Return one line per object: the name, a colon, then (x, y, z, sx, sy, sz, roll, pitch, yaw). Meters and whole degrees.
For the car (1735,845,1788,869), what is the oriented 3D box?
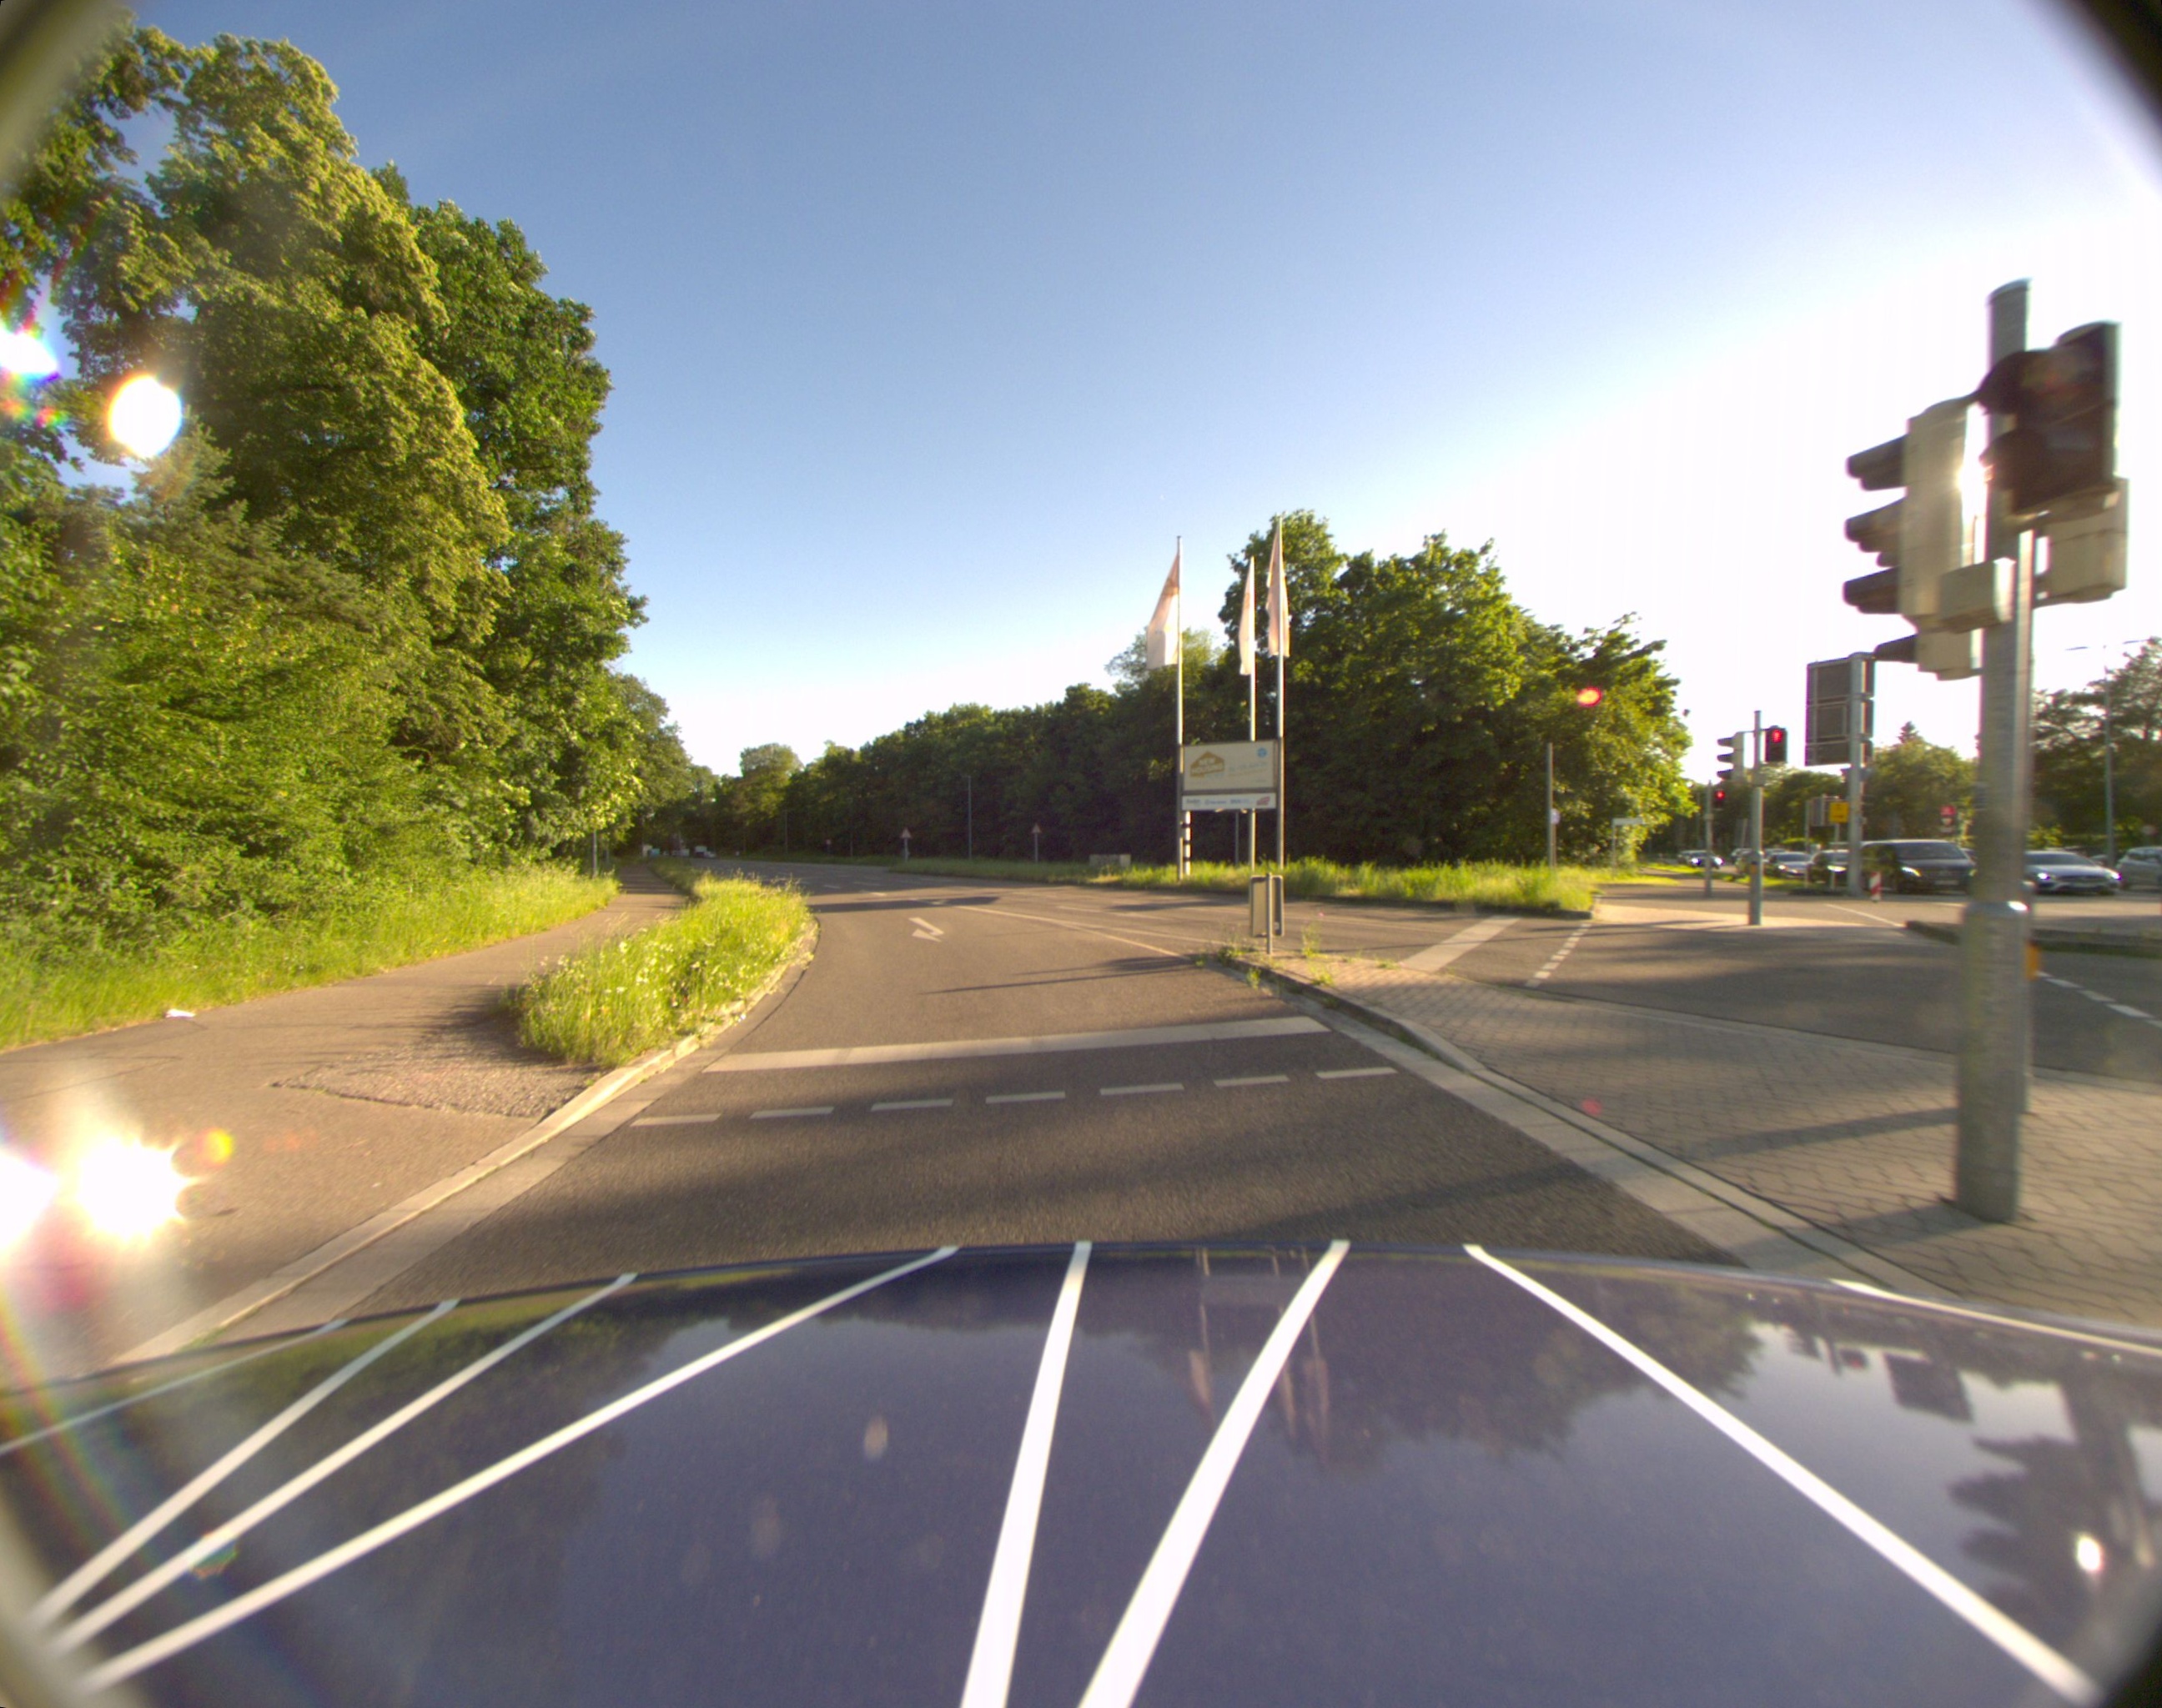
car: (42.022, 0.144, 47.004, 1.849, 1.381, 3.807, 0, 1, 33)

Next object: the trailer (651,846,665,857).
trailer: (-84.263, -0.516, 151.263, 1.874, 2.166, 4.118, -3, 2, -35)

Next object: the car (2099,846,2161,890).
car: (36.261, 0.434, 25.151, 1.849, 1.381, 3.807, 0, 1, 33)

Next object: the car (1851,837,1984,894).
car: (29.210, 0.335, 26.733, 1.923, 1.819, 4.943, 0, 1, 33)

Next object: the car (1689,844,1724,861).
car: (52.383, -0.125, 63.679, 1.849, 1.381, 3.807, 0, 1, 33)

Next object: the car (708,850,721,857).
car: (-77.713, -0.044, 160.914, 1.919, 1.455, 4.001, 0, 0, -35)

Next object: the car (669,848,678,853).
car: (-120.869, -1.148, 225.348, 1.811, 1.496, 3.902, 0, 0, -35)

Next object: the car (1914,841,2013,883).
car: (36.326, 0.276, 31.393, 1.642, 1.617, 4.008, 0, 1, 34)

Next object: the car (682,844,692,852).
car: (-104.781, -1.482, 201.995, 1.696, 2.089, 4.620, 0, 1, -35)

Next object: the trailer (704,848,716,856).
trailer: (-80.515, -0.522, 165.081, 1.811, 1.719, 3.638, 0, 1, -35)

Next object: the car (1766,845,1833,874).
car: (36.957, 0.260, 39.174, 1.849, 1.381, 3.807, 0, 1, 33)

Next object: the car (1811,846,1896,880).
car: (33.960, 0.369, 33.510, 1.849, 1.381, 3.807, 0, 1, 33)

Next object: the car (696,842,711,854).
car: (-86.978, -1.350, 175.047, 2.466, 2.830, 4.786, 0, 1, -35)

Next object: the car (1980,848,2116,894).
car: (32.051, 0.508, 25.327, 1.643, 1.381, 3.807, 0, 1, 33)

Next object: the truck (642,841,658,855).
truck: (-94.133, -1.282, 166.011, 2.395, 2.856, 5.583, -4, 3, -34)
